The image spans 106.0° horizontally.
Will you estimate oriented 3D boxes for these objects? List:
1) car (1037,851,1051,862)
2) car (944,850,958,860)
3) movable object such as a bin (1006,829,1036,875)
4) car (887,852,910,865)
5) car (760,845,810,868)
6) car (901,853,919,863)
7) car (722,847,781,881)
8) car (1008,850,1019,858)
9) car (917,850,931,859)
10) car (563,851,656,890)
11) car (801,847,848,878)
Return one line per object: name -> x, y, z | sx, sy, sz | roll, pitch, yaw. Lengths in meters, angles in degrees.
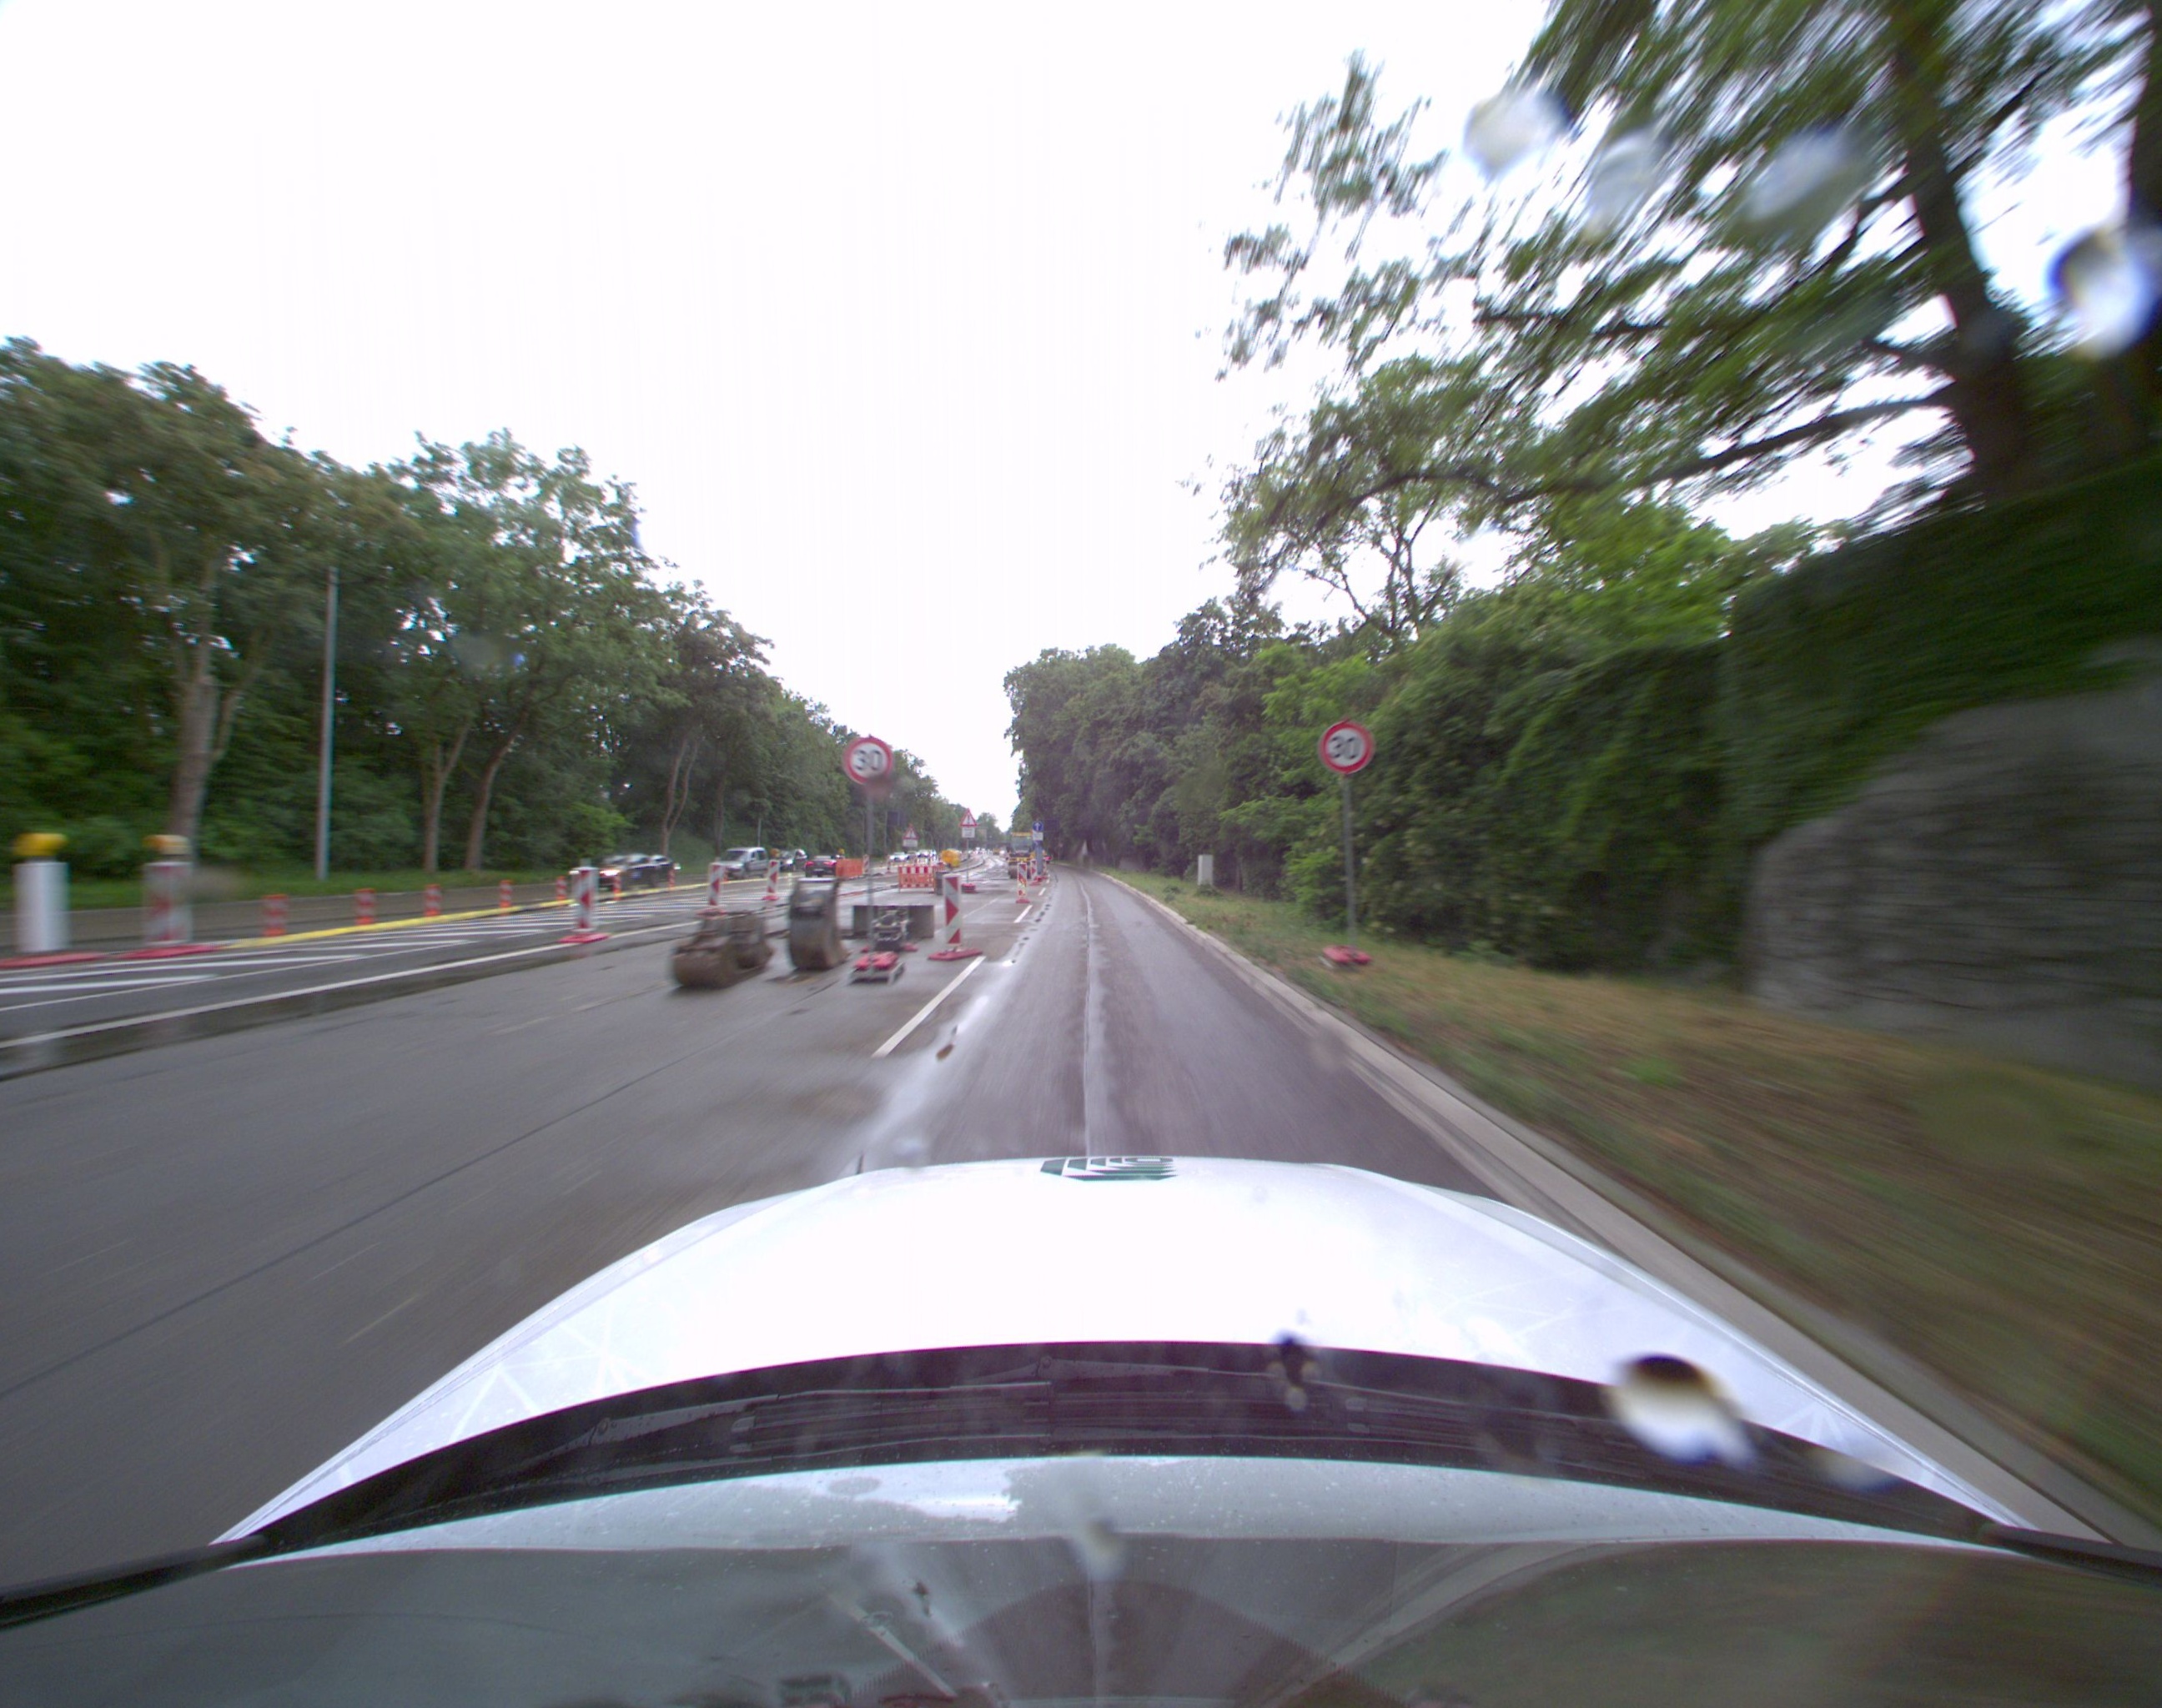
car -> -5.740, 0.446, 127.096 | 1.908, 1.598, 4.834 | 1, 1, 0
car -> -24.397, 0.204, 152.882 | 1.921, 1.778, 4.652 | 0, 0, 0
movable object such as a bin -> -3.848, -0.108, 52.909 | 1.741, 2.867, 3.532 | 0, 0, -1
car -> -24.854, 0.621, 111.033 | 1.921, 1.665, 4.652 | 0, 0, 0
car -> -21.910, 0.159, 60.486 | 1.921, 1.665, 4.652 | 0, 0, 0
car -> -28.025, 0.634, 133.530 | 1.921, 1.665, 4.652 | 0, 0, 0
car -> -17.241, 0.483, 42.798 | 1.423, 1.695, 4.128 | -1, 0, -1
car -> -13.569, -0.008, 163.735 | 1.869, 1.618, 4.000 | 3, 1, 0
car -> -31.184, 0.133, 161.708 | 1.921, 1.665, 4.652 | 0, 0, 0
car -> -17.809, 0.583, 30.966 | 1.424, 1.407, 3.821 | -1, 0, -2
car -> -14.581, 0.454, 46.514 | 1.861, 1.491, 3.990 | 2, 2, -8
